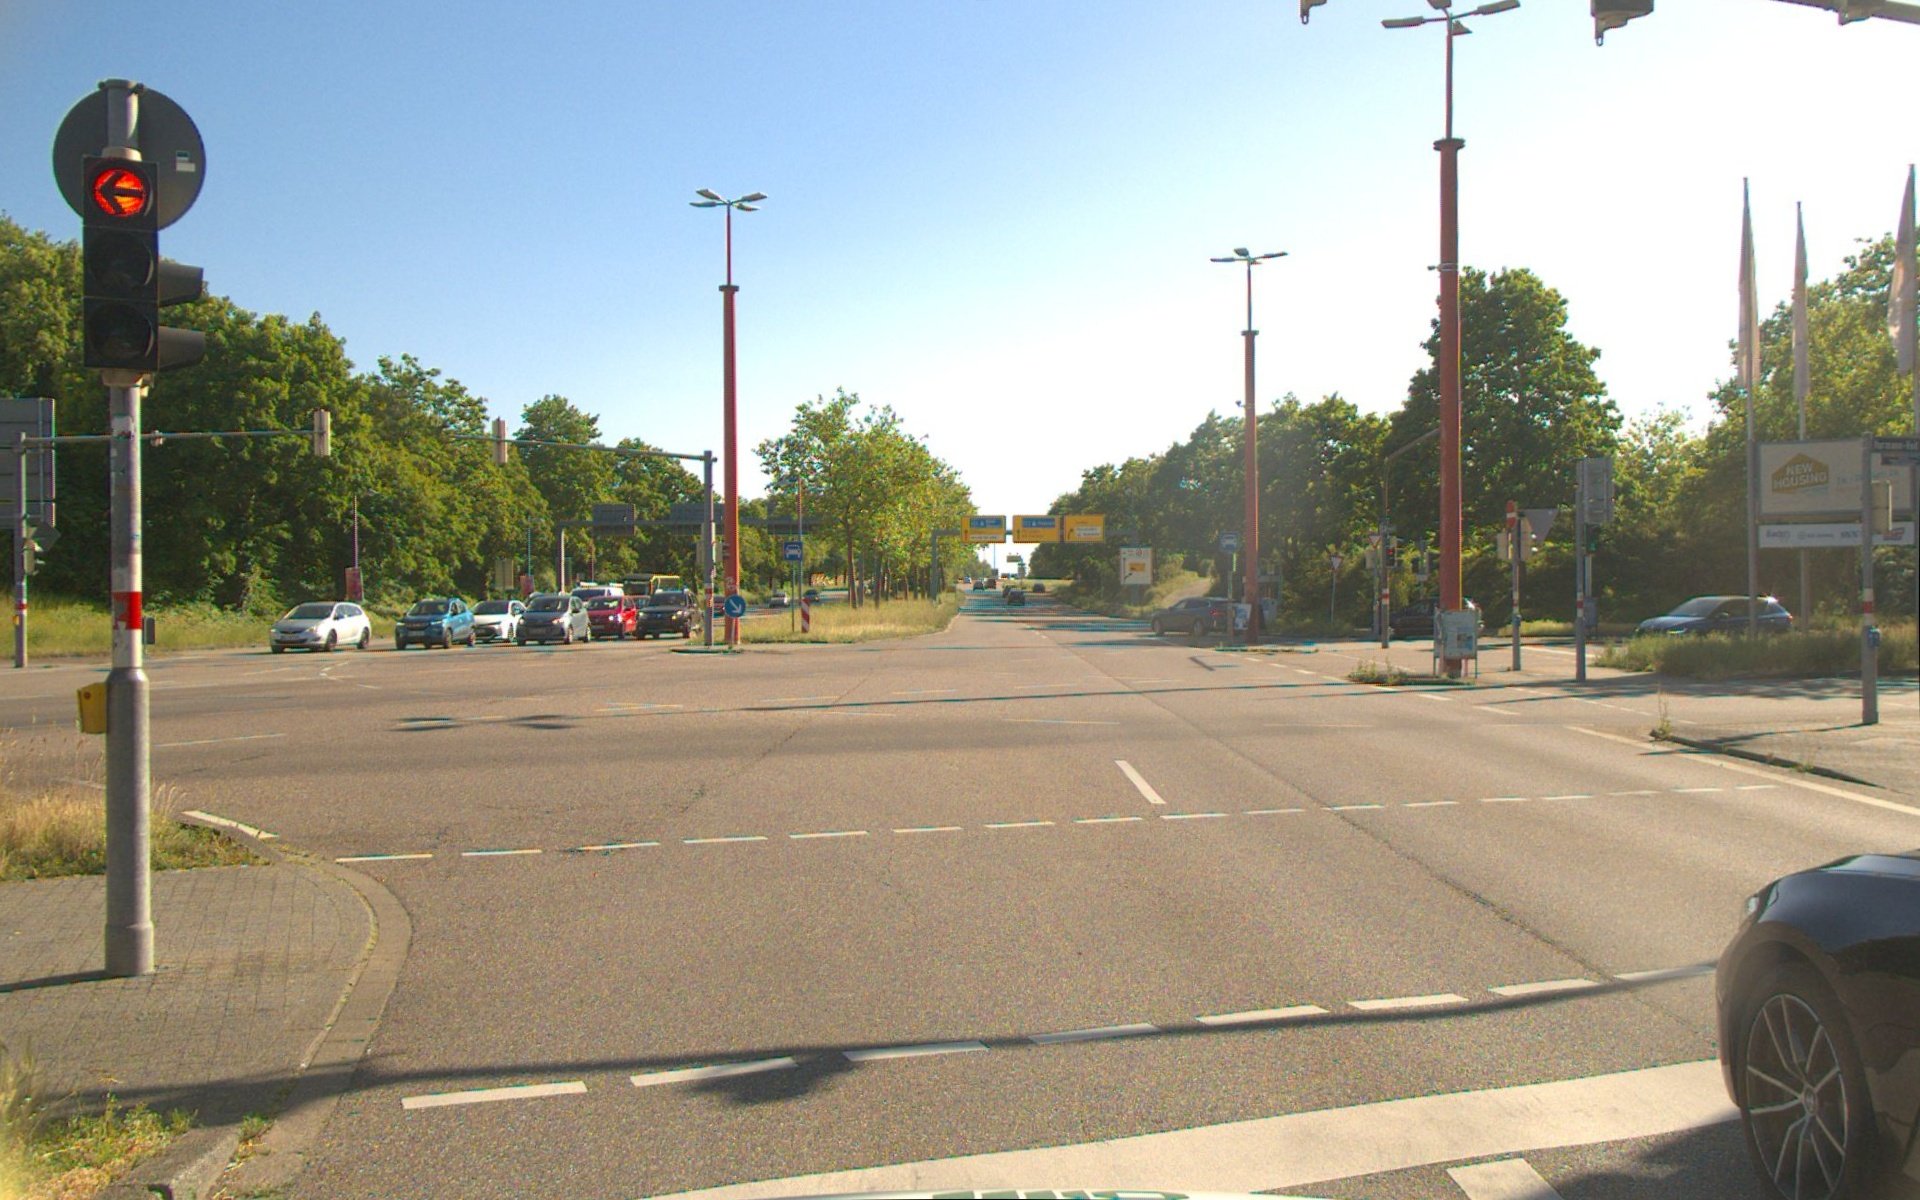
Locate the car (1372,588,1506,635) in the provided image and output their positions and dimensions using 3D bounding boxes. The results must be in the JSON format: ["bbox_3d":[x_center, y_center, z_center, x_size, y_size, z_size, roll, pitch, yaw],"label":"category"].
[{"bbox_3d":[16.786,0.407,57.953,4.184,1.601,2.164,0,0,27],"label":"car"}]

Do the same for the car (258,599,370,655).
[{"bbox_3d":[-19.582,0.783,50.300,1.954,1.601,4.118,0,0,-3],"label":"car"}]

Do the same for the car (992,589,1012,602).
[{"bbox_3d":[5.468,-0.588,214.663,2.116,1.601,4.277,0,0,-4],"label":"car"}]

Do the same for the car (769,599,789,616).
[{"bbox_3d":[-18.029,0.750,164.609,1.840,1.601,3.943,0,0,-5],"label":"car"}]

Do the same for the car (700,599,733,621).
[{"bbox_3d":[-17.042,0.679,115.715,1.784,1.480,3.656,0,0,0],"label":"car"}]

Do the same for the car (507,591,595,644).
[{"bbox_3d":[-12.800,0.520,51.967,1.954,1.601,4.118,0,0,-4],"label":"car"}]

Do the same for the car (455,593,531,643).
[{"bbox_3d":[-15.986,0.595,56.786,1.956,1.601,4.113,-1,0,-8],"label":"car"}]

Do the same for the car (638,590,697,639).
[{"bbox_3d":[-9.869,0.470,55.993,1.841,1.601,4.113,0,0,-8],"label":"car"}]

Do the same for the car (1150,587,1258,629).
[{"bbox_3d":[9.609,0.313,65.584,2.131,1.601,4.547,0,0,-25],"label":"car"}]

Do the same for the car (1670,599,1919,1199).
[{"bbox_3d":[2.978,0.711,2.363,1.953,1.419,4.476,0,0,-1],"label":"car"}]

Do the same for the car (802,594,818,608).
[{"bbox_3d":[-17.313,0.149,191.078,1.840,1.601,4.116,0,0,-5],"label":"car"}]

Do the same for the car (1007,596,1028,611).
[{"bbox_3d":[5.957,0.360,171.156,2.114,1.601,4.281,0,0,1],"label":"car"}]

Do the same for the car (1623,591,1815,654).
[{"bbox_3d":[18.764,0.529,40.904,4.201,1.453,1.874,0,0,-19],"label":"car"}]

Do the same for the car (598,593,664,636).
[{"bbox_3d":[-12.707,0.527,64.048,1.954,1.601,4.117,0,0,-4],"label":"car"}]

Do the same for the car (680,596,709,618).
[{"bbox_3d":[-20.000,0.528,124.670,1.840,1.601,4.116,0,0,-5],"label":"car"}]

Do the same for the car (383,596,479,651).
[{"bbox_3d":[-16.204,0.680,50.893,1.955,1.601,4.116,0,0,-5],"label":"car"}]

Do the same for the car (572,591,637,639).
[{"bbox_3d":[-12.474,0.506,58.273,1.956,1.601,4.113,0,0,-8],"label":"car"}]

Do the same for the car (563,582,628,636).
[{"bbox_3d":[-15.667,0.385,71.267,2.021,2.231,4.376,0,0,-3],"label":"car"}]
